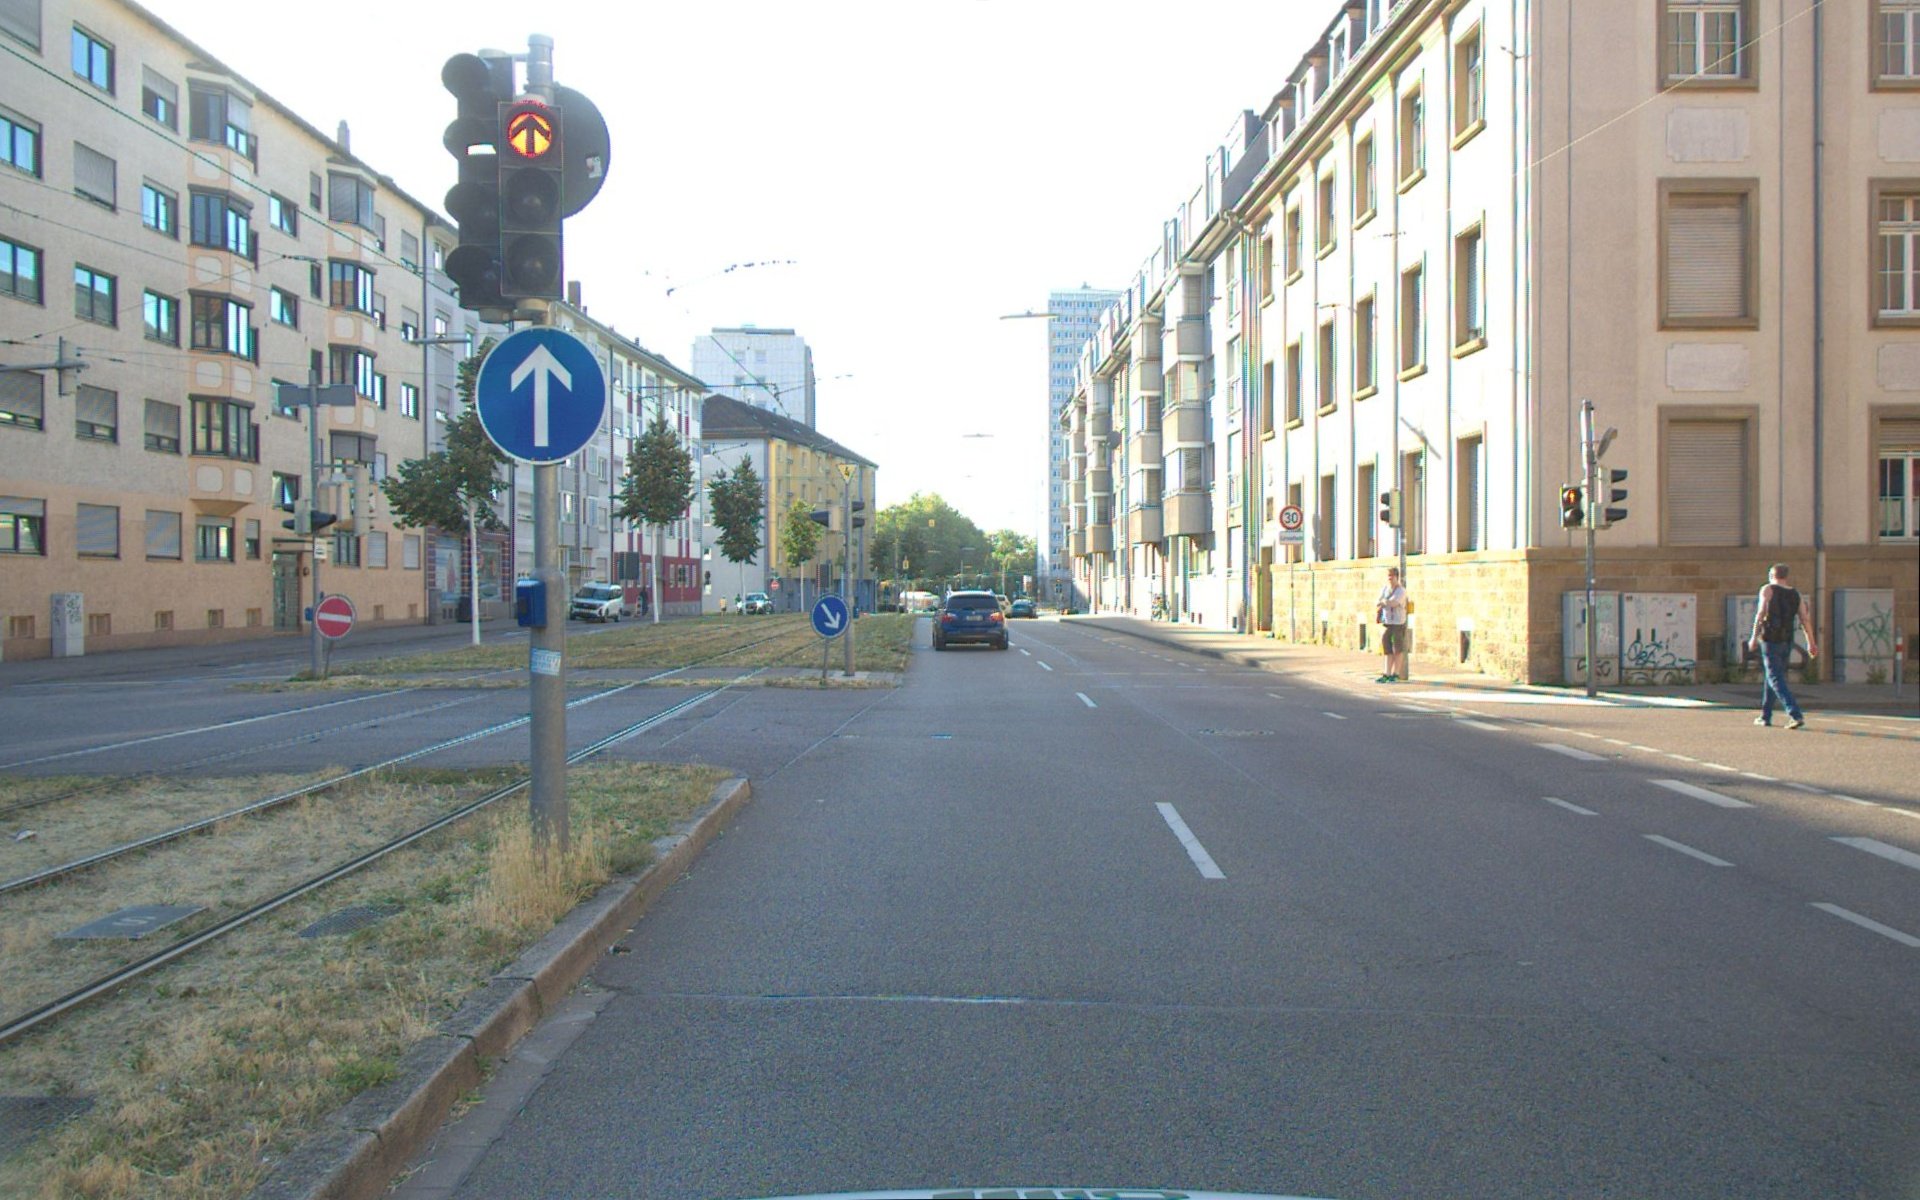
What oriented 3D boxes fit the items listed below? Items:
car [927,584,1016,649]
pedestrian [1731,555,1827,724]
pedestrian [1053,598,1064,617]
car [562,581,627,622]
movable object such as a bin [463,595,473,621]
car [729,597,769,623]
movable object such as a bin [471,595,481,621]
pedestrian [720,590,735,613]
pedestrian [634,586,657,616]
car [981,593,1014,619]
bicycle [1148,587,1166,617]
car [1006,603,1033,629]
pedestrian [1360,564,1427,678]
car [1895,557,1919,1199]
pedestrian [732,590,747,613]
[{"bbox_3d":[0.223,0.395,40.949,1.888,1.481,4.324,1,0,-4],"label":"car"},{"bbox_3d":[8.915,0.423,18.021,0.616,1.789,0.825,1,-1,-1],"label":"pedestrian"},{"bbox_3d":[6.754,0.515,113.059,0.677,1.256,0.736,1,0,-1],"label":"pedestrian"},{"bbox_3d":[-17.927,0.088,81.361,1.952,1.958,4.543,1,0,3],"label":"car"},{"bbox_3d":[-20.178,0.346,67.852,0.292,1.054,0.441,1,-1,-1],"label":"movable object such as a bin"},{"bbox_3d":[-14.175,0.650,111.128,1.857,1.662,4.749,-1,0,3],"label":"car"},{"bbox_3d":[-20.072,0.338,68.613,0.292,1.054,0.441,1,-1,-2],"label":"movable object such as a bin"},{"bbox_3d":[-17.585,0.091,125.101,0.942,1.723,1.011,1,0,4],"label":"pedestrian"},{"bbox_3d":[-18.837,0.046,99.077,1.246,1.791,1.271,1,0,-10],"label":"pedestrian"},{"bbox_3d":[2.373,0.366,105.891,1.953,1.591,3.999,1,0,-1],"label":"car"},{"bbox_3d":[7.400,0.081,62.140,0.376,1.115,1.503,-1,0,-3],"label":"bicycle"},{"bbox_3d":[4.838,1.287,134.844,1.953,2.049,3.999,-1,0,-1],"label":"car"},{"bbox_3d":[6.928,0.334,26.475,0.818,1.793,0.824,1,-1,-1],"label":"pedestrian"},{"bbox_3d":[2.863,0.725,1.436,1.663,1.580,4.225,1,0,-1],"label":"car"},{"bbox_3d":[-16.729,0.116,125.621,0.942,1.699,1.011,1,0,4],"label":"pedestrian"}]
